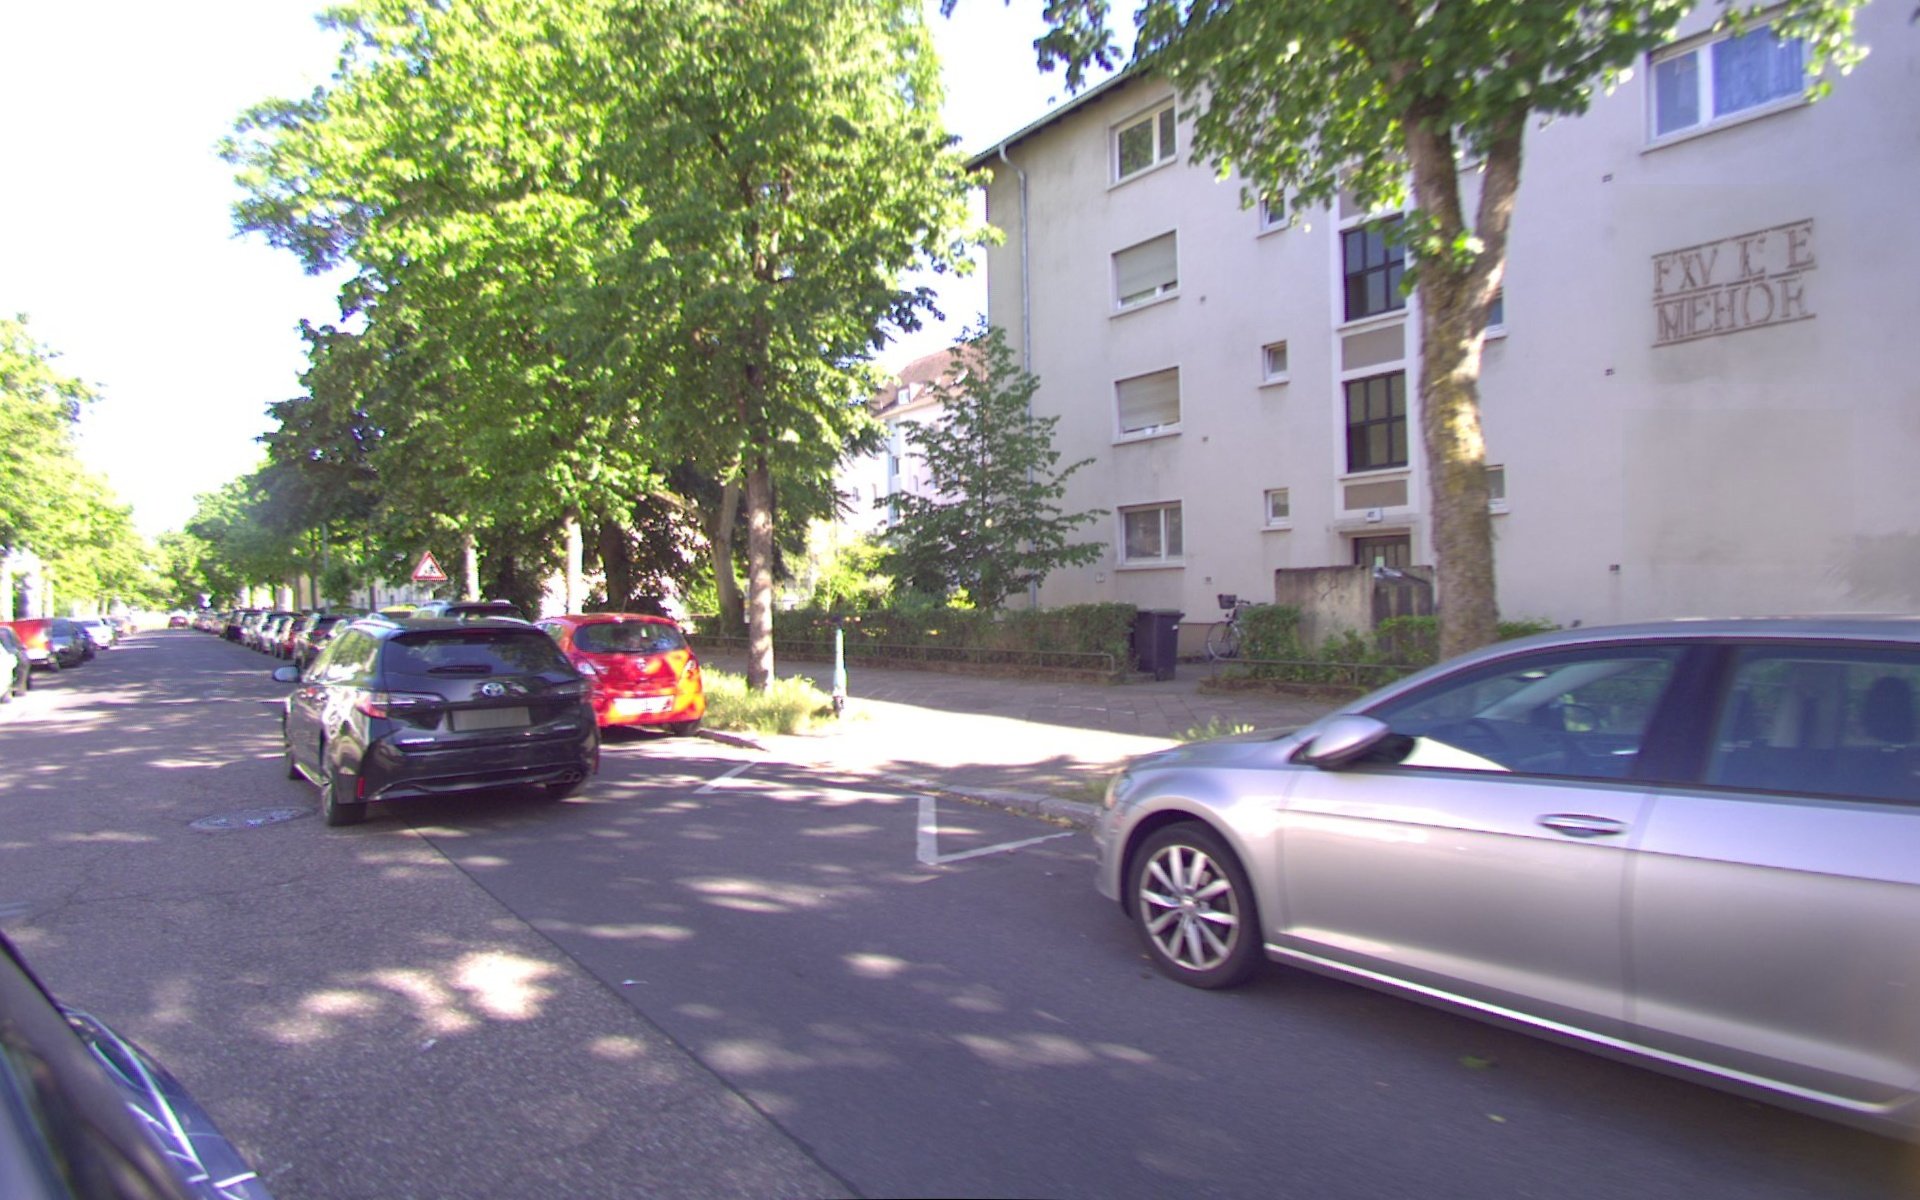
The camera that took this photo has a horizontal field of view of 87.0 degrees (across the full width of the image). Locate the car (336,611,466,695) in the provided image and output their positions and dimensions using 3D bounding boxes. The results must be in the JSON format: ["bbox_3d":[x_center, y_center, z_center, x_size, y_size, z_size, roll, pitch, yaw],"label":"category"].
[{"bbox_3d":[-11.952,1.041,21.494,1.746,1.543,4.428,-2,0,-38],"label":"car"}]

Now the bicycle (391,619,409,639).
[{"bbox_3d":[-30.158,1.559,54.492,0.565,1.069,1.937,-2,1,-38],"label":"bicycle"}]

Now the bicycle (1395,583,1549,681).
[{"bbox_3d":[7.161,0.439,14.257,0.393,1.299,1.917,-1,0,-39],"label":"bicycle"}]

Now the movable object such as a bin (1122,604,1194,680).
[{"bbox_3d":[2.907,0.603,14.891,0.685,1.076,0.762,-1,0,-37],"label":"movable object such as a bin"}]

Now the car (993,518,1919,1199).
[{"bbox_3d":[2.367,0.584,3.486,2.016,1.535,4.616,-1,0,-38],"label":"car"}]

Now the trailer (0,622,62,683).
[{"bbox_3d":[-27.025,1.493,29.003,1.554,1.590,3.199,-4,2,-37],"label":"trailer"}]

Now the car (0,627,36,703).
[{"bbox_3d":[-20.463,1.350,20.984,1.649,1.461,4.186,-4,2,-40],"label":"car"}]

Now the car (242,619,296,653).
[{"bbox_3d":[-32.451,1.671,47.478,1.685,1.492,4.497,0,-1,-40],"label":"car"}]

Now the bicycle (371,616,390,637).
[{"bbox_3d":[-34.246,1.581,59.765,0.587,1.198,2.265,0,-1,-40],"label":"bicycle"}]

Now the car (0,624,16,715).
[{"bbox_3d":[-17.590,1.200,17.421,1.711,1.498,4.016,-2,0,-40],"label":"car"}]

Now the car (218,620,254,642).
[{"bbox_3d":[-49.048,2.097,68.503,1.752,1.482,4.072,2,-2,-38],"label":"car"}]

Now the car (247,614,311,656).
[{"bbox_3d":[-29.175,1.454,43.298,1.818,1.669,5.097,0,-1,-39],"label":"car"}]

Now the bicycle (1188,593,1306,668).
[{"bbox_3d":[4.906,0.504,17.388,0.677,1.210,1.916,-1,0,-36],"label":"bicycle"}]

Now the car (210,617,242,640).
[{"bbox_3d":[-56.402,2.149,77.737,1.835,1.741,4.008,1,-1,-37],"label":"car"}]

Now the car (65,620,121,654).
[{"bbox_3d":[-45.960,1.912,53.714,1.872,1.660,4.872,-2,0,-36],"label":"car"}]

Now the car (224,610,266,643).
[{"bbox_3d":[-42.297,1.562,59.836,1.770,1.863,4.876,0,-1,-39],"label":"car"}]

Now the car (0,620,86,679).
[{"bbox_3d":[-29.743,1.528,32.897,1.770,1.655,4.828,-4,2,-39],"label":"car"}]

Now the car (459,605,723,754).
[{"bbox_3d":[-4.709,0.854,12.540,1.832,1.480,4.190,-1,0,-38],"label":"car"}]

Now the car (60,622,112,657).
[{"bbox_3d":[-42.341,1.874,48.992,1.760,1.529,4.692,-2,1,-43],"label":"car"}]

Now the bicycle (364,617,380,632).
[{"bbox_3d":[-37.683,1.589,64.828,0.587,0.923,1.907,0,-1,-40],"label":"bicycle"}]

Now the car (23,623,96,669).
[{"bbox_3d":[-33.532,1.676,37.789,1.696,1.528,4.353,-2,0,-38],"label":"car"}]

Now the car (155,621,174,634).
[{"bbox_3d":[-93.542,3.247,119.040,1.640,1.476,3.455,-1,-1,-37],"label":"car"}]

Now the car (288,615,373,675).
[{"bbox_3d":[-18.602,1.267,29.826,1.684,1.589,4.491,-1,-1,-38],"label":"car"}]

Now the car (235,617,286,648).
[{"bbox_3d":[-35.586,1.611,51.419,1.771,1.463,4.497,0,-1,-39],"label":"car"}]

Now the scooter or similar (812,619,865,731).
[{"bbox_3d":[-1.503,0.866,12.327,0.547,1.244,1.517,-1,0,-9],"label":"scooter or similar"}]

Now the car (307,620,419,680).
[{"bbox_3d":[-15.282,1.202,25.794,1.762,1.363,4.489,0,-1,-40],"label":"car"}]

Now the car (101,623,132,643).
[{"bbox_3d":[-65.640,2.549,78.789,1.644,1.476,3.543,-1,-1,-37],"label":"car"}]

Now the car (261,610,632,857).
[{"bbox_3d":[-4.393,0.827,8.262,1.786,1.456,4.374,1,-1,-40],"label":"car"}]

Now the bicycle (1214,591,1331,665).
[{"bbox_3d":[5.461,0.479,17.811,0.677,1.210,1.916,-1,0,-36],"label":"bicycle"}]

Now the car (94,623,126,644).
[{"bbox_3d":[-62.860,2.470,74.879,1.644,1.476,3.543,-1,-1,-37],"label":"car"}]

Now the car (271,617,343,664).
[{"bbox_3d":[-22.924,1.377,35.444,1.633,1.516,4.075,0,-1,-40],"label":"car"}]

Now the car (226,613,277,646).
[{"bbox_3d":[-39.151,1.612,55.885,1.772,1.698,4.532,0,-1,-42],"label":"car"}]

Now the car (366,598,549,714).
[{"bbox_3d":[-8.734,0.863,17.353,1.745,1.701,4.822,0,-1,-40],"label":"car"}]

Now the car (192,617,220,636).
[{"bbox_3d":[-75.728,2.627,101.565,1.863,1.821,3.919,-2,0,-42],"label":"car"}]

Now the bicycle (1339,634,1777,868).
[{"bbox_3d":[3.304,0.757,5.847,0.524,1.022,2.096,-10,4,-33],"label":"bicycle"}]

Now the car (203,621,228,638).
[{"bbox_3d":[-65.057,2.567,88.365,1.581,1.401,3.819,-2,0,-39],"label":"car"}]

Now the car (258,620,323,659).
[{"bbox_3d":[-25.920,1.497,39.127,1.633,1.384,4.196,0,-1,-40],"label":"car"}]
